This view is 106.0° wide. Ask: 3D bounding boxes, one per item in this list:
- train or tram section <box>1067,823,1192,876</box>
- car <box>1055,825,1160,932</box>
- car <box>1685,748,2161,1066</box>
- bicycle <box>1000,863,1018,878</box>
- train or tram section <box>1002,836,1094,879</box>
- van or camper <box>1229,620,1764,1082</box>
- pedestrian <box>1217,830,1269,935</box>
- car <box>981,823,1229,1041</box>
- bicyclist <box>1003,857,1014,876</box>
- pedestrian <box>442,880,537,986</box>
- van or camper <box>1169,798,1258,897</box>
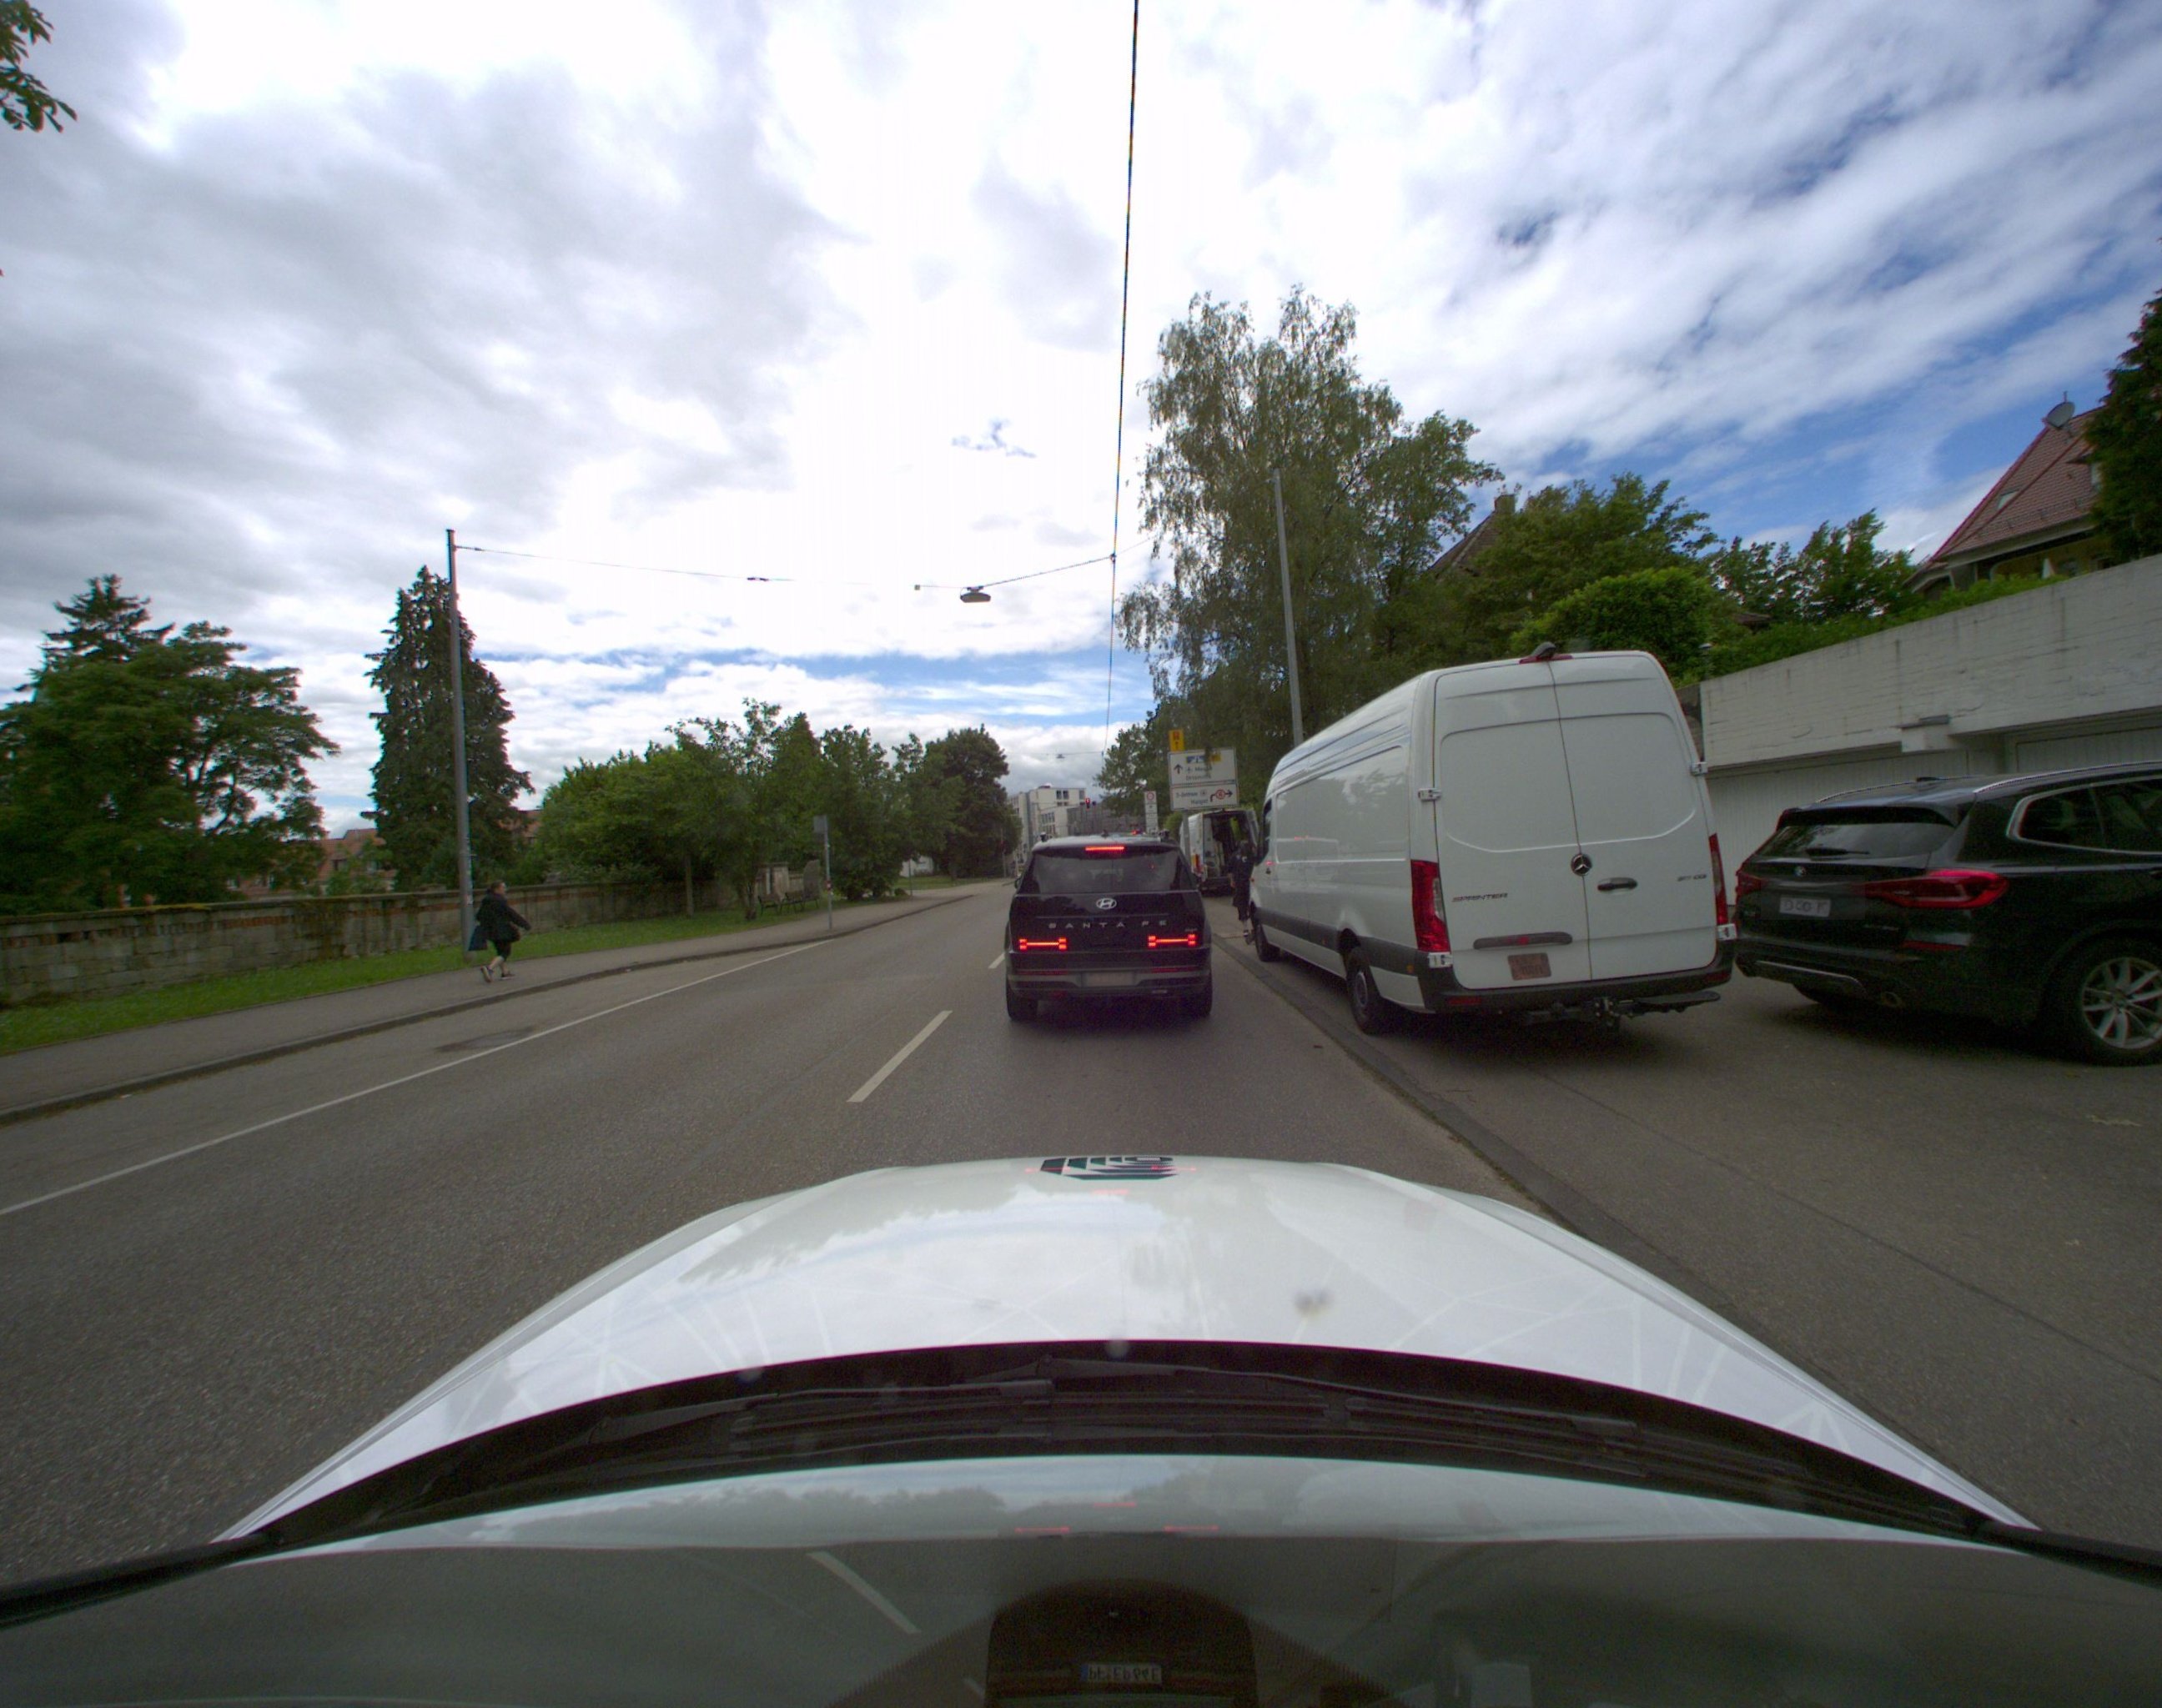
[{"bbox_3d":[4.423,-0.207,83.149,3.212,4.523,18.505,-1,-2,-29],"label":"train or tram section"},{"bbox_3d":[0.557,0.478,17.708,1.957,2.001,4.001,-2,0,1],"label":"car"},{"bbox_3d":[6.853,0.187,5.292,4.376,1.652,1.831,-4,0,2],"label":"car"},{"bbox_3d":[-6.230,1.427,70.159,0.678,1.279,2.479,-1,-2,-25],"label":"bicycle"},{"bbox_3d":[-4.441,0.593,99.390,3.212,4.523,18.508,-1,-2,-29],"label":"train or tram section"},{"bbox_3d":[3.097,-0.015,8.120,1.957,2.627,6.359,-5,0,1],"label":"van or camper"},{"bbox_3d":[2.774,0.481,13.918,0.597,1.743,0.623,-3,-3,36],"label":"pedestrian"},{"bbox_3d":[0.234,0.638,8.634,1.957,1.711,4.001,-2,0,1],"label":"car"},{"bbox_3d":[-6.245,1.085,70.193,0.678,1.659,0.851,-1,-2,-26],"label":"bicyclist"},{"bbox_3d":[-9.381,1.225,12.946,0.746,1.578,0.967,-2,0,1],"label":"pedestrian"},{"bbox_3d":[4.245,-0.200,26.936,1.957,2.797,5.288,-5,0,1],"label":"van or camper"}]
